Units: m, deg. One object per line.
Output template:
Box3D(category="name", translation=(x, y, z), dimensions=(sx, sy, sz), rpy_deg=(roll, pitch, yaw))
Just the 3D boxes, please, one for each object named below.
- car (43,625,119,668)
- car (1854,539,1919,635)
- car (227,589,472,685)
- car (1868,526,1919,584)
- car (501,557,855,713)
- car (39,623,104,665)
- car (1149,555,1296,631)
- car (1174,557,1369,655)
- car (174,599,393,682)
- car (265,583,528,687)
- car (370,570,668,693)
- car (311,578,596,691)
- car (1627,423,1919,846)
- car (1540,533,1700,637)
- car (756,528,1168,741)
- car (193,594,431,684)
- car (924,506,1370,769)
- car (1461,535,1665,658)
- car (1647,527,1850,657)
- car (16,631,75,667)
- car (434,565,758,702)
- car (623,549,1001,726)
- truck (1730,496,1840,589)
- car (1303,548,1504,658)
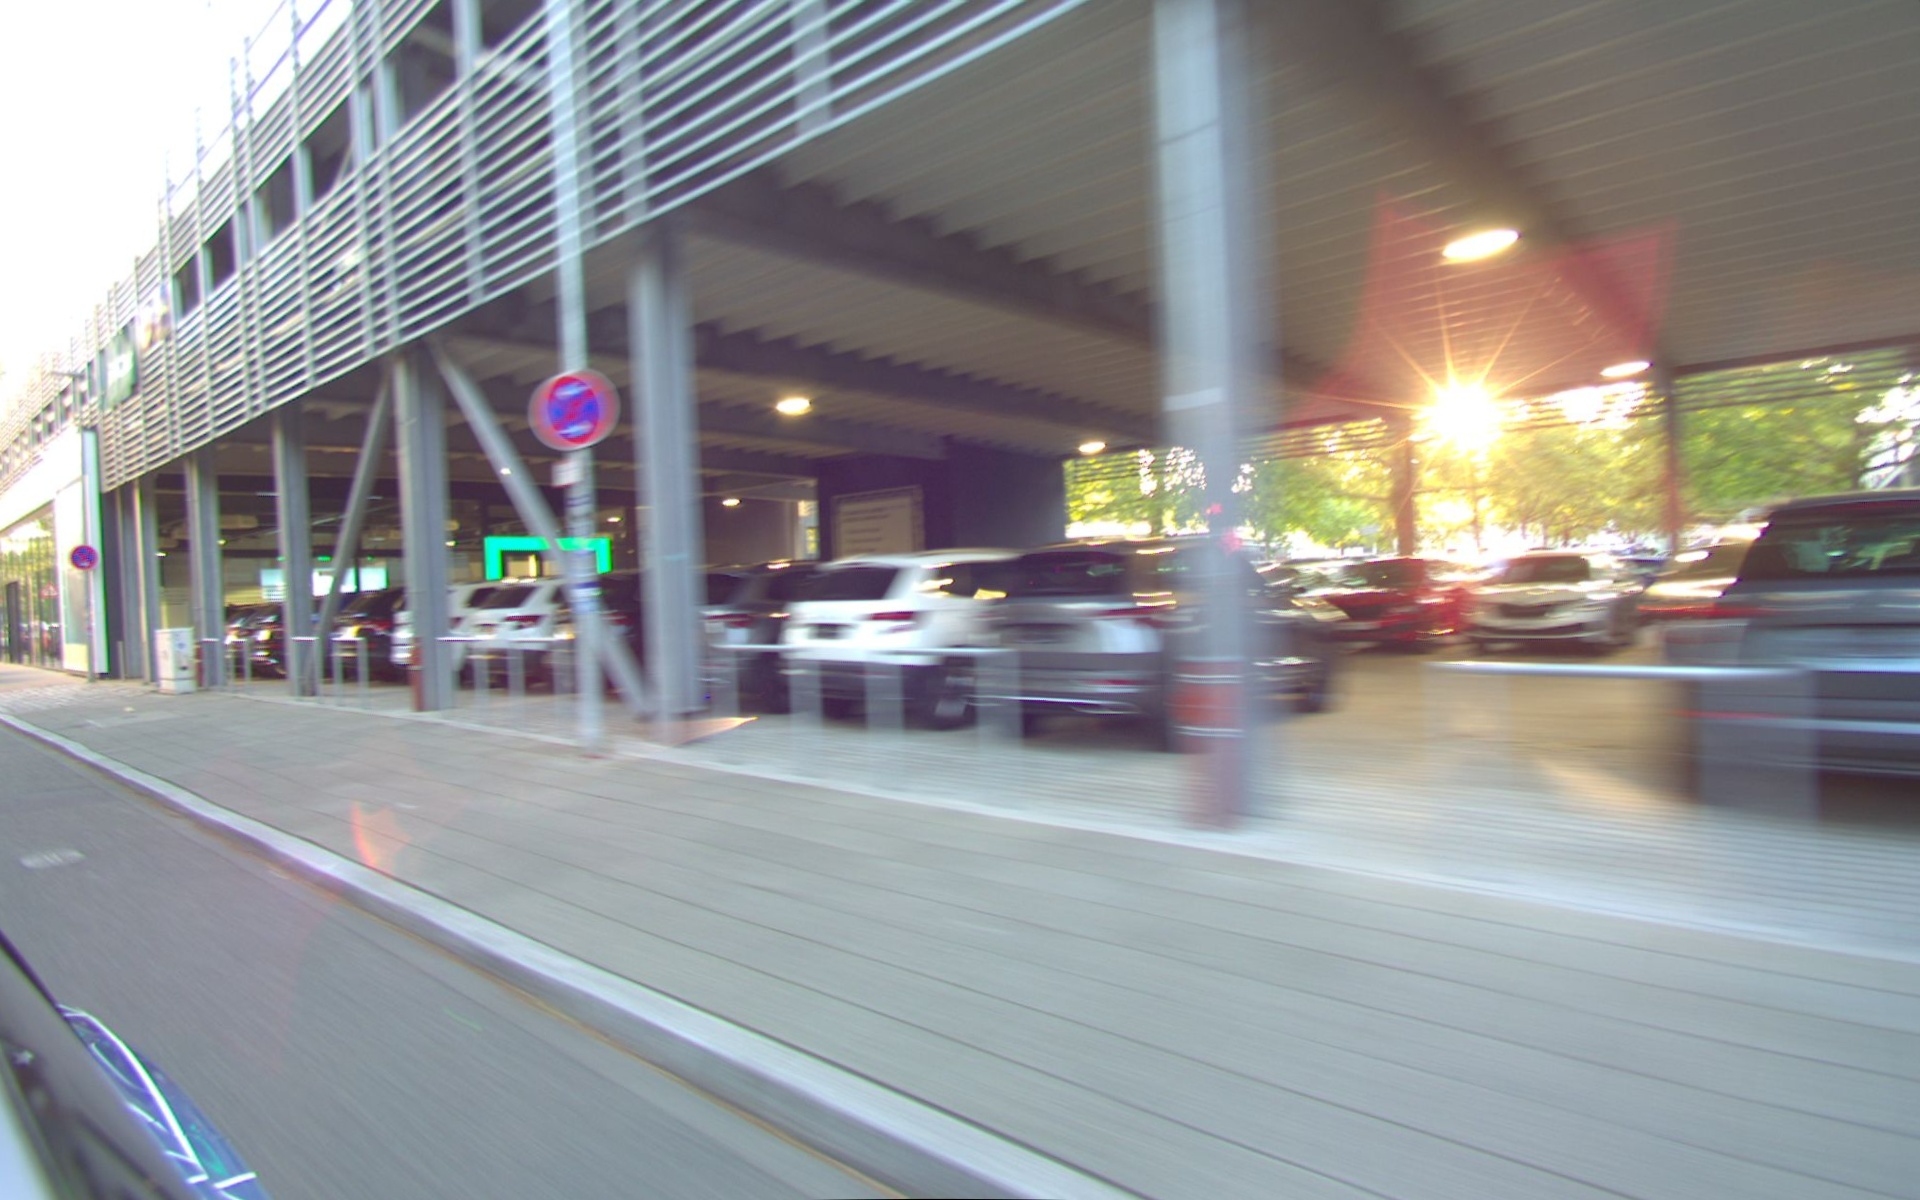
Box3D(category="car", translation=(-34.850, 1.846, 40.110), dimensions=(4.190, 1.526, 1.680), rpy_deg=(-3, 0, 41))
Box3D(category="car", translation=(15.536, -0.274, 16.329), dimensions=(1.595, 1.436, 3.414), rpy_deg=(-2, 1, 41))
Box3D(category="car", translation=(-12.686, 0.724, 21.201), dimensions=(1.860, 1.696, 3.993), rpy_deg=(-3, 0, 42))
Box3D(category="car", translation=(28.411, -1.361, 28.230), dimensions=(4.382, 1.585, 2.275), rpy_deg=(-2, 1, 38))
Box3D(category="car", translation=(-3.548, 0.361, 13.287), dimensions=(1.860, 1.696, 4.059), rpy_deg=(-3, 0, 42))
Box3D(category="car", translation=(-38.137, 1.892, 43.412), dimensions=(3.874, 1.662, 1.576), rpy_deg=(-3, 0, 41))
Box3D(category="car", translation=(6.610, -0.211, 25.235), dimensions=(1.860, 1.696, 3.981), rpy_deg=(-3, 0, 42))
Box3D(category="car", translation=(5.749, 0.065, 18.405), dimensions=(1.860, 1.570, 3.945), rpy_deg=(-3, 0, 42))
Box3D(category="car", translation=(-16.221, 0.926, 24.402), dimensions=(1.860, 1.696, 4.000), rpy_deg=(-3, 0, 42))
Box3D(category="car", translation=(-10.747, 0.613, 19.484), dimensions=(1.860, 1.696, 3.993), rpy_deg=(-3, 0, 42))
Box3D(category="car", translation=(-7.037, 0.445, 16.442), dimensions=(1.860, 1.696, 3.983), rpy_deg=(-3, 0, 42))
Box3D(category="car", translation=(-8.895, 0.539, 18.016), dimensions=(1.860, 1.696, 4.105), rpy_deg=(-3, 0, 42))
Box3D(category="car", translation=(5.174, 0.073, 5.579), dimensions=(1.860, 1.696, 4.044), rpy_deg=(-3, 0, 42))
Box3D(category="car", translation=(12.477, -0.299, 19.016), dimensions=(1.860, 1.696, 4.104), rpy_deg=(-3, 0, 42))
Box3D(category="car", translation=(0.197, 0.240, 10.194), dimensions=(1.860, 1.696, 4.059), rpy_deg=(-3, 0, 42))
Box3D(category="car", translation=(-14.488, 0.827, 22.786), dimensions=(1.860, 1.696, 4.122), rpy_deg=(-3, 0, 42))
Box3D(category="car", translation=(1.785, 0.211, 8.647), dimensions=(1.860, 1.696, 4.021), rpy_deg=(-3, 0, 42))
Box3D(category="car", translation=(9.189, -0.076, 15.275), dimensions=(1.860, 1.591, 4.024), rpy_deg=(-3, 0, 42))
Box3D(category="car", translation=(10.838, -0.128, 13.807), dimensions=(1.860, 1.506, 4.009), rpy_deg=(-3, 0, 42))
Box3D(category="car", translation=(-42.952, 2.282, 47.493), dimensions=(3.874, 1.534, 1.576), rpy_deg=(-3, 0, 41))
Box3D(category="car", translation=(-5.213, 0.406, 14.891), dimensions=(1.860, 1.696, 4.040), rpy_deg=(-3, 0, 42))
Box3D(category="car", translation=(-1.568, 0.323, 11.819), dimensions=(1.860, 1.696, 4.059), rpy_deg=(-3, 0, 42))
Box3D(category="truck", translation=(26.400, -1.796, 32.564), dimensions=(2.441, 2.587, 6.852), rpy_deg=(-2, 1, 38))
Box3D(category="car", translation=(7.477, 0.009, 16.867), dimensions=(1.860, 1.608, 3.993), rpy_deg=(-3, 0, 42))
